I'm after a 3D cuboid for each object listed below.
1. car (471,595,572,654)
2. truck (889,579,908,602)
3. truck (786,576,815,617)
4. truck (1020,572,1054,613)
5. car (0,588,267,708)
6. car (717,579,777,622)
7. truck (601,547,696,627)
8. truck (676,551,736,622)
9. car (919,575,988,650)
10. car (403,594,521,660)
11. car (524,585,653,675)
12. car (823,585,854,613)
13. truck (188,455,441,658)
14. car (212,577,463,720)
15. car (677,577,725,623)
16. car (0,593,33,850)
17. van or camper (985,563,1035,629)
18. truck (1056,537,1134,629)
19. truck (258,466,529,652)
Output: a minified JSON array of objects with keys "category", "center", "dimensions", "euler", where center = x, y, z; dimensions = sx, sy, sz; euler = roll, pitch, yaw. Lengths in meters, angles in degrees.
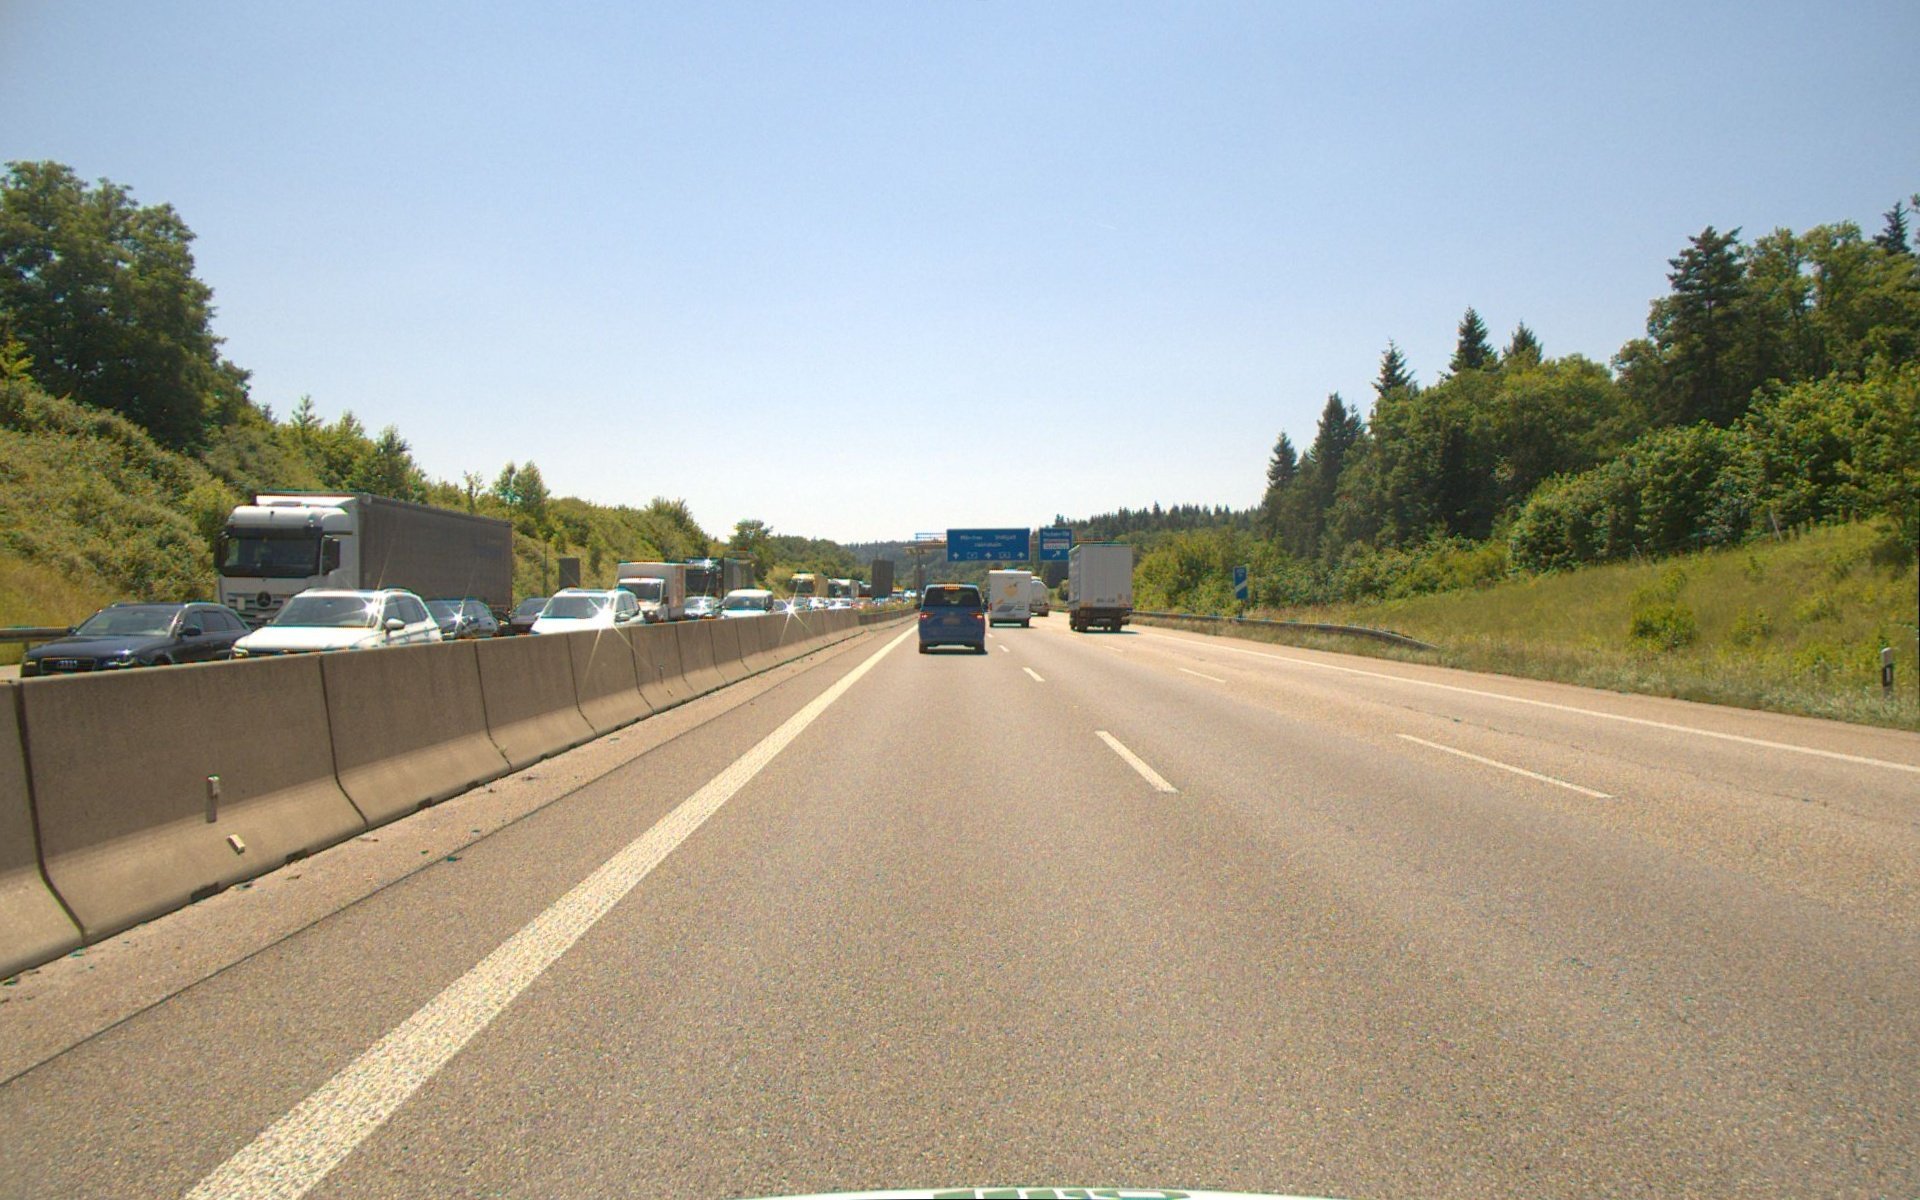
[{"category":"car","center":[-12.583,0.697,47.735],"dimensions":[1.791,1.592,4.522],"euler":[1,-1,-1]},{"category":"truck","center":[-7.842,-1.181,211.514],"dimensions":[2.076,2.891,6.212],"euler":[1,-1,0]},{"category":"truck","center":[-16.535,-0.348,172.043],"dimensions":[2.549,4.136,6.131],"euler":[1,-1,-1]},{"category":"truck","center":[7.156,-0.751,154.427],"dimensions":[2.867,3.637,8.527],"euler":[-1,1,1]},{"category":"car","center":[-12.070,0.662,24.475],"dimensions":[1.791,1.592,4.522],"euler":[1,-1,-1]},{"category":"car","center":[-8.260,0.035,64.475],"dimensions":[1.791,1.592,5.109],"euler":[1,0,-1]},{"category":"truck","center":[-11.963,-0.462,64.121],"dimensions":[2.517,2.895,6.750],"euler":[1,-1,-1]},{"category":"truck","center":[-15.788,-0.802,103.142],"dimensions":[2.761,4.277,5.629],"euler":[1,-1,1]},{"category":"car","center":[-0.203,0.342,47.148],"dimensions":[1.870,2.049,3.999],"euler":[0,0,-1]},{"category":"car","center":[-11.919,0.641,39.842],"dimensions":[1.563,1.482,4.481],"euler":[1,0,-1]},{"category":"car","center":[-8.027,0.628,36.159],"dimensions":[1.791,1.795,4.989],"euler":[1,-1,-1]},{"category":"car","center":[-8.277,-0.051,112.894],"dimensions":[1.791,1.795,4.989],"euler":[1,-1,-1]},{"category":"truck","center":[-16.080,-0.957,42.060],"dimensions":[2.881,4.595,8.605],"euler":[1,-1,1]},{"category":"car","center":[-8.703,0.639,23.636],"dimensions":[1.791,1.795,4.989],"euler":[1,-1,-1]},{"category":"car","center":[-11.787,0.012,75.555],"dimensions":[1.590,2.049,3.999],"euler":[1,-1,-1]},{"category":"car","center":[-7.547,0.824,9.418],"dimensions":[1.791,1.795,4.989],"euler":[1,-1,-1]},{"category":"van or camper","center":[2.717,-0.172,91.747],"dimensions":[2.550,3.133,7.180],"euler":[1,-4,0]},{"category":"truck","center":[6.492,-0.726,81.113],"dimensions":[2.727,4.201,9.736],"euler":[1,-1,-2]},{"category":"truck","center":[-15.995,-0.965,48.367],"dimensions":[2.933,4.622,13.924],"euler":[1,0,1]}]
